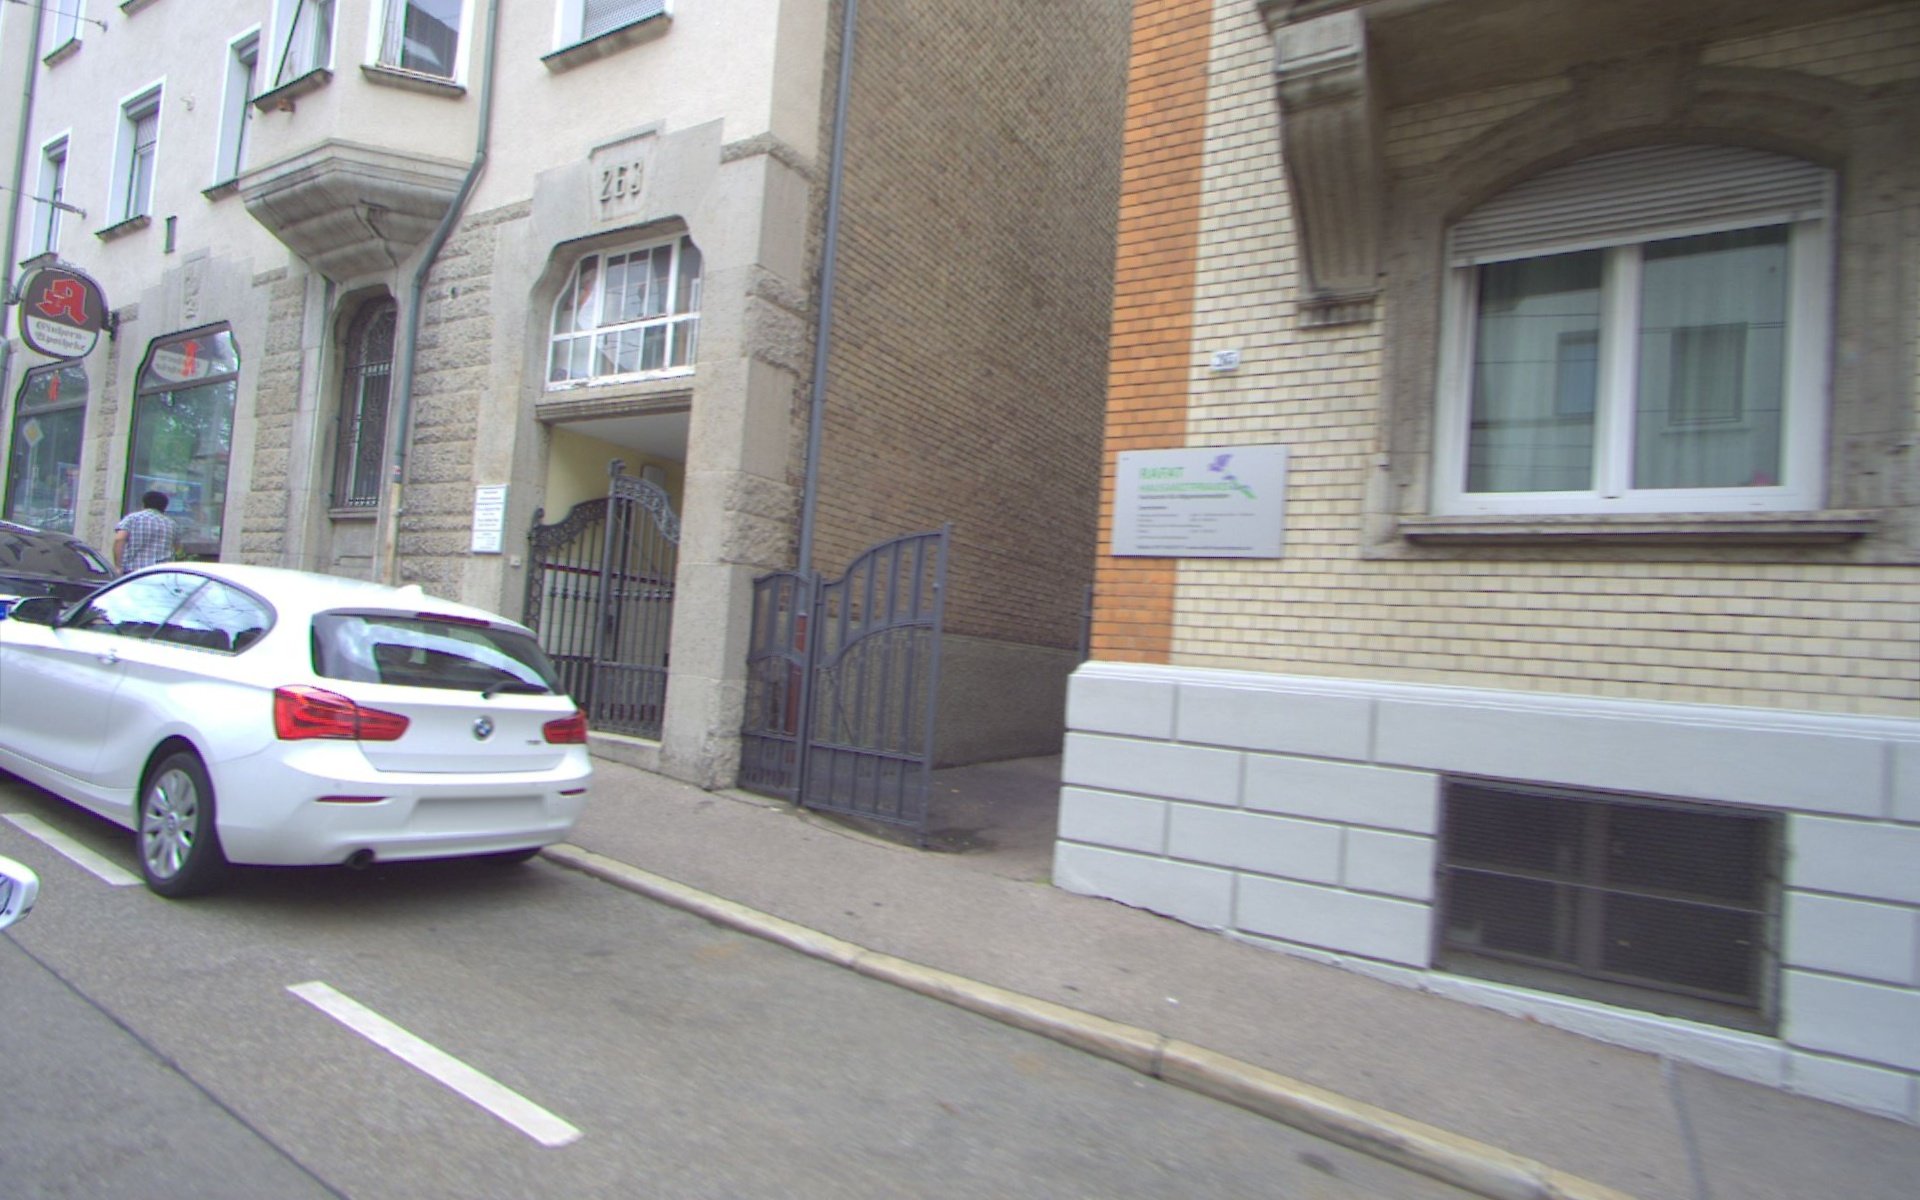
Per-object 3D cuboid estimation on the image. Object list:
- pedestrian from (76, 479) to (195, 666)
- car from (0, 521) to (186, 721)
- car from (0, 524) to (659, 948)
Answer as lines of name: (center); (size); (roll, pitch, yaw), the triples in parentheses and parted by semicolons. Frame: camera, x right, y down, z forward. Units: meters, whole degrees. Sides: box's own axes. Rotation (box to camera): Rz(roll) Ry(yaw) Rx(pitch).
pedestrian: (-8.461, -0.276, 10.333); (0.621, 1.824, 0.600); (6, -1, 31)
car: (-8.788, -0.053, 8.543); (4.613, 1.405, 1.785); (6, -4, 31)
car: (-3.915, 0.501, 5.573); (4.235, 1.405, 1.755); (6, -4, 31)
